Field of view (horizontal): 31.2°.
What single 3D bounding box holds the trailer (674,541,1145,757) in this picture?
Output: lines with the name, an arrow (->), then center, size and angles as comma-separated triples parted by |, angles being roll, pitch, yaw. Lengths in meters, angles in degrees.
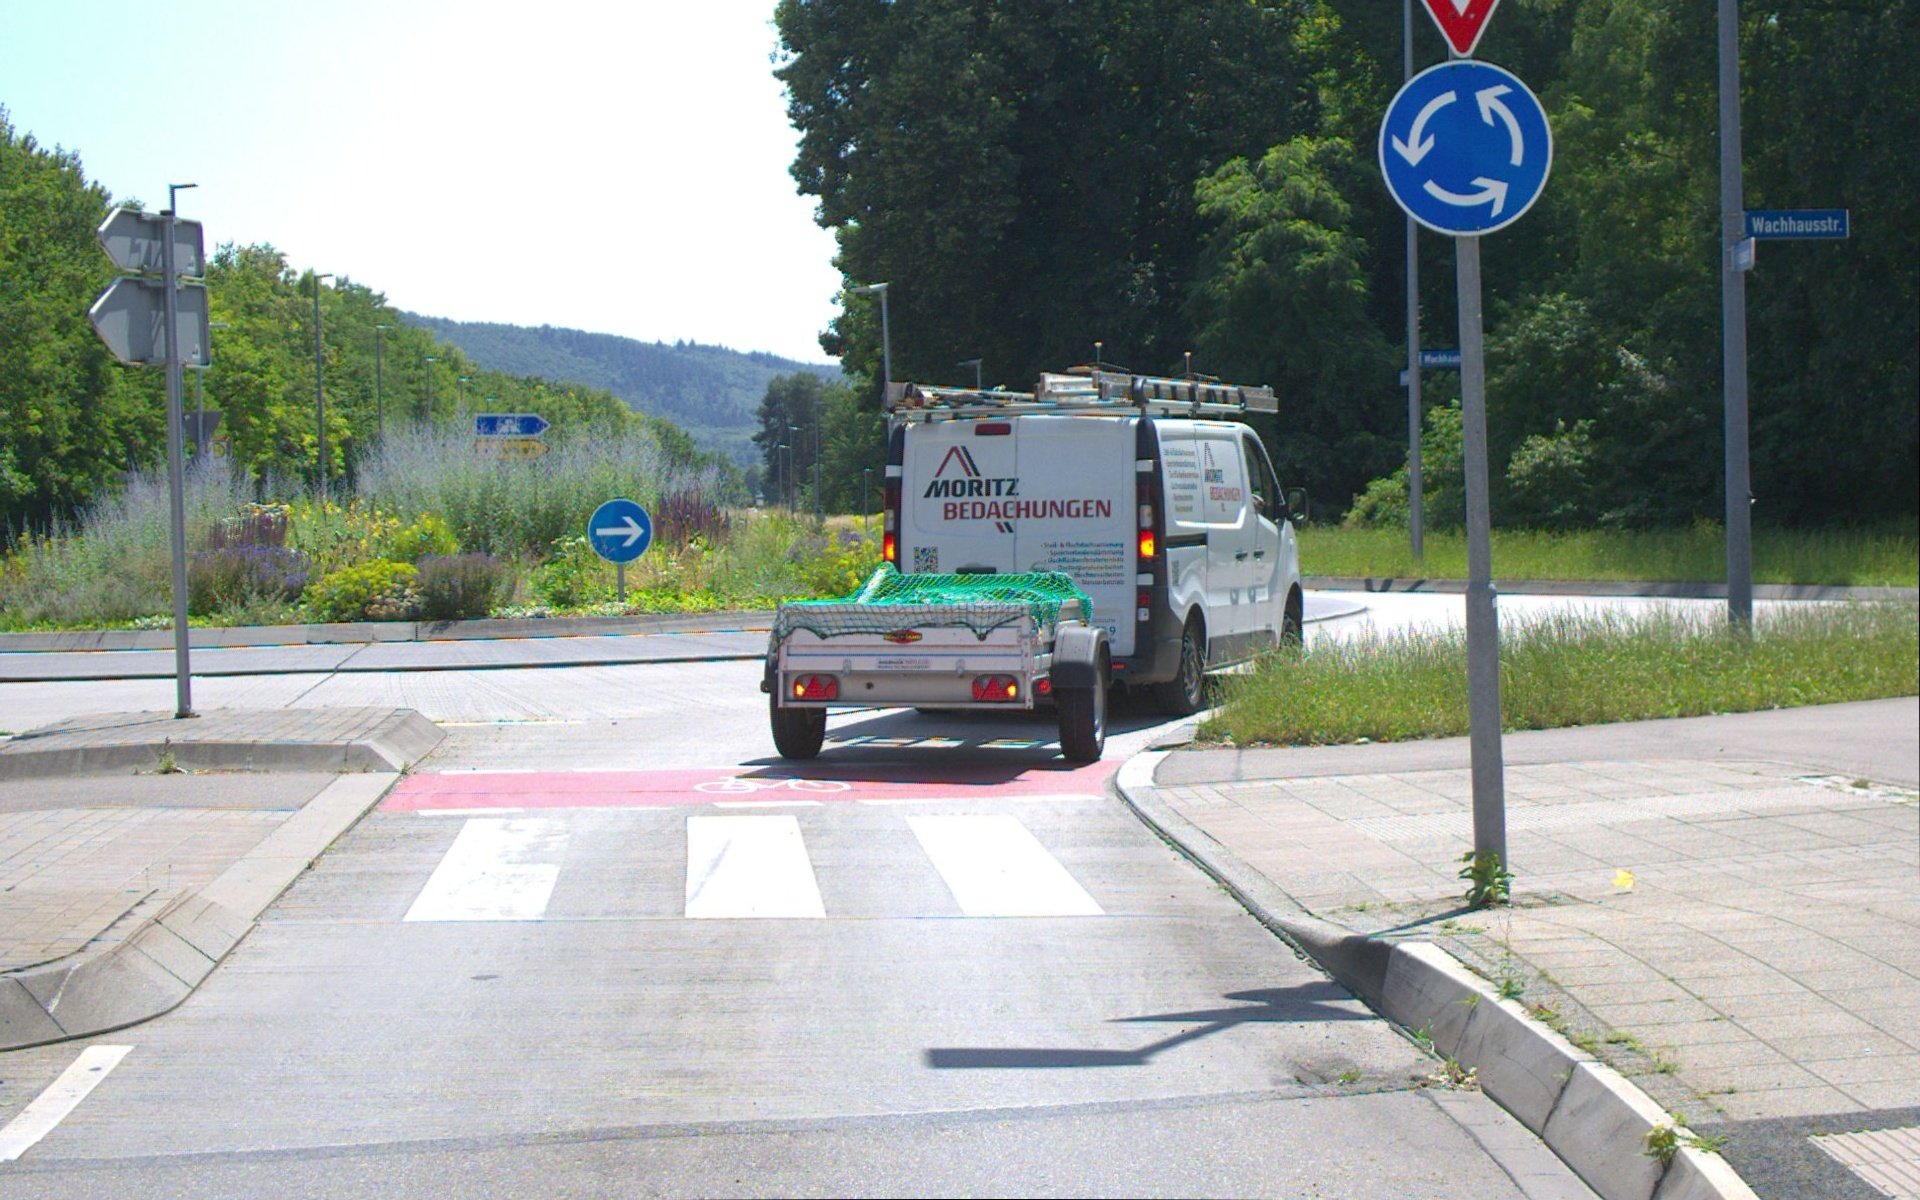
trailer -> -0.183, 0.227, 19.461 | 2.122, 1.093, 3.353 | 0, 1, 9

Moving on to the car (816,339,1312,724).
car -> 0.855, -0.461, 23.331 | 2.168, 2.308, 4.978 | 0, 1, 16
